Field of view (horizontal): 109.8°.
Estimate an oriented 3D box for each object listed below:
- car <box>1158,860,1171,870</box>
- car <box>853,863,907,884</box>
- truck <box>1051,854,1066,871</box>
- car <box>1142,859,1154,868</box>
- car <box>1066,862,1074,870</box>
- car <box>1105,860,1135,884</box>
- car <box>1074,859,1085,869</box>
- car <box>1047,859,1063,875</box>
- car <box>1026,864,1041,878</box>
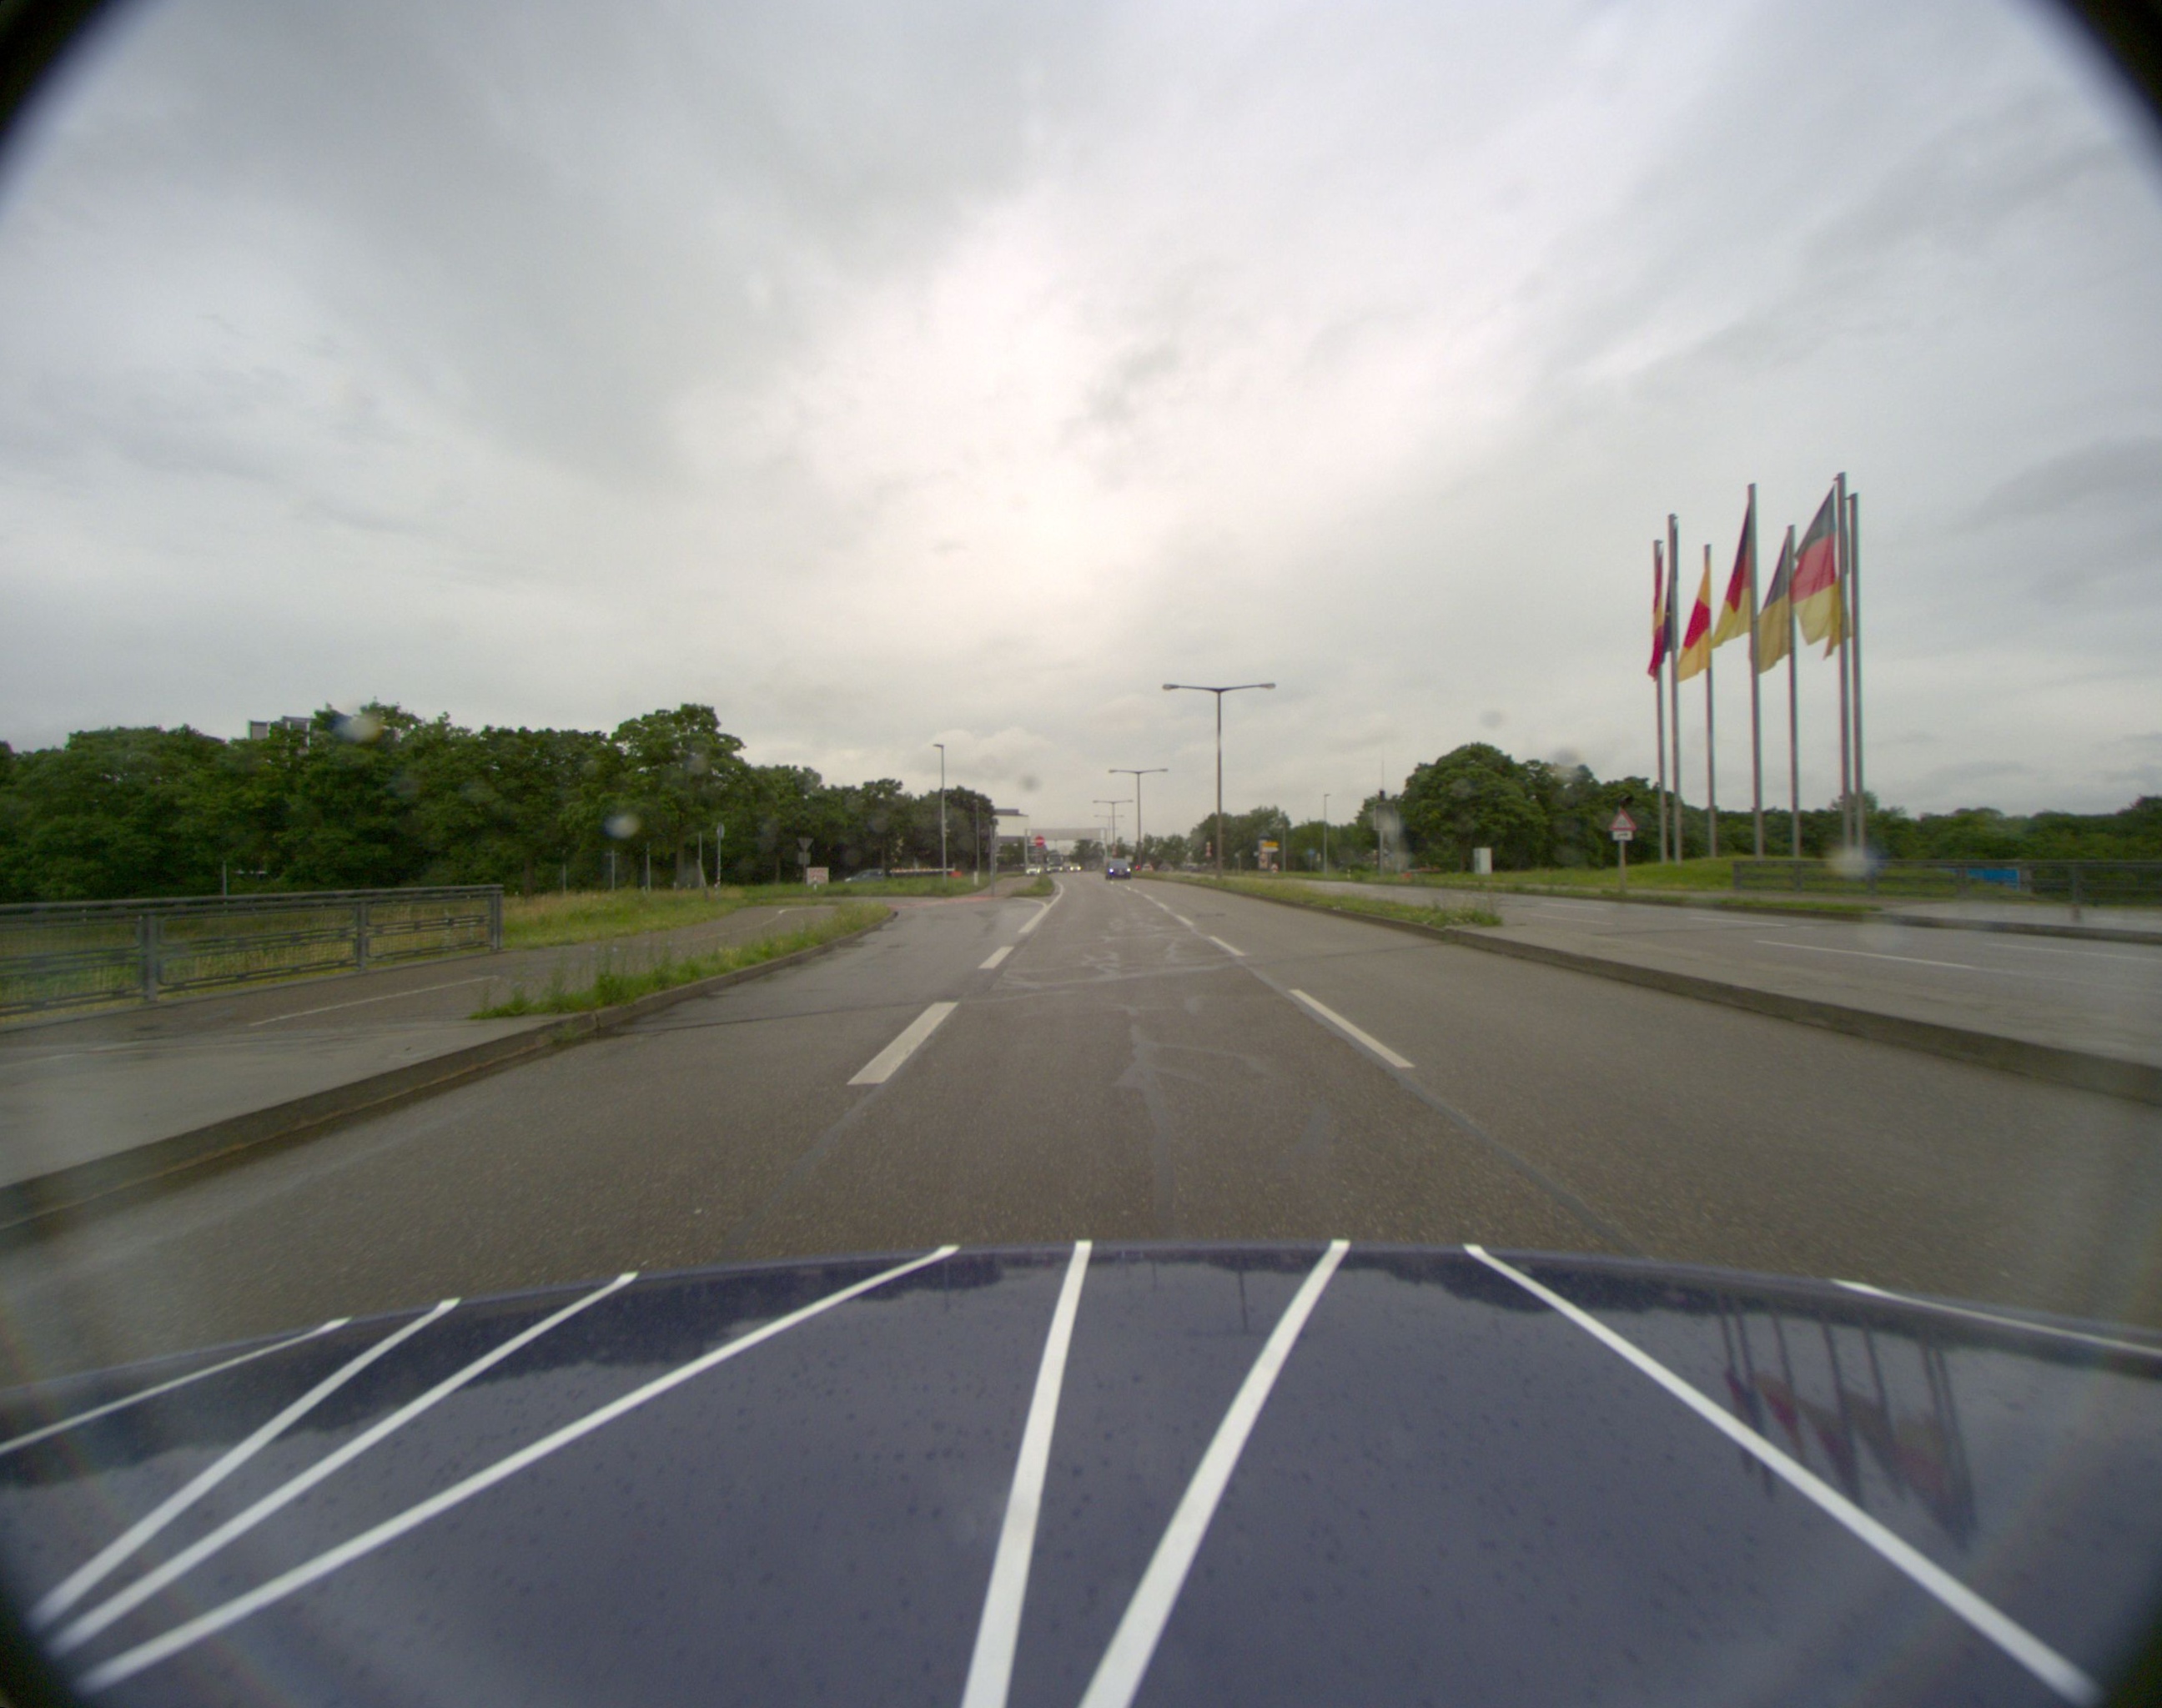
[{"bbox_3d":[16.511,2.165,150.007,1.851,1.740,4.030,-2,0,-3],"label":"car"},{"bbox_3d":[-20.229,1.938,76.525,4.824,1.740,1.847,-4,1,-31],"label":"car"},{"bbox_3d":[-4.337,1.627,147.589,2.860,3.197,8.096,-2,0,-1],"label":"truck"},{"bbox_3d":[12.119,1.719,136.986,1.850,1.612,4.031,-2,0,1],"label":"car"},{"bbox_3d":[-2.605,2.911,181.448,1.999,1.701,3.999,-2,0,-1],"label":"car"},{"bbox_3d":[3.243,1.500,64.086,1.851,1.741,4.815,-4,1,-3],"label":"car"},{"bbox_3d":[-0.357,1.925,143.273,1.999,1.701,3.999,-2,0,-1],"label":"car"},{"bbox_3d":[-3.958,1.916,114.789,2.252,2.248,5.170,-2,0,-1],"label":"car"},{"bbox_3d":[-6.453,2.326,103.830,1.841,1.739,3.999,-2,0,-1],"label":"car"}]
